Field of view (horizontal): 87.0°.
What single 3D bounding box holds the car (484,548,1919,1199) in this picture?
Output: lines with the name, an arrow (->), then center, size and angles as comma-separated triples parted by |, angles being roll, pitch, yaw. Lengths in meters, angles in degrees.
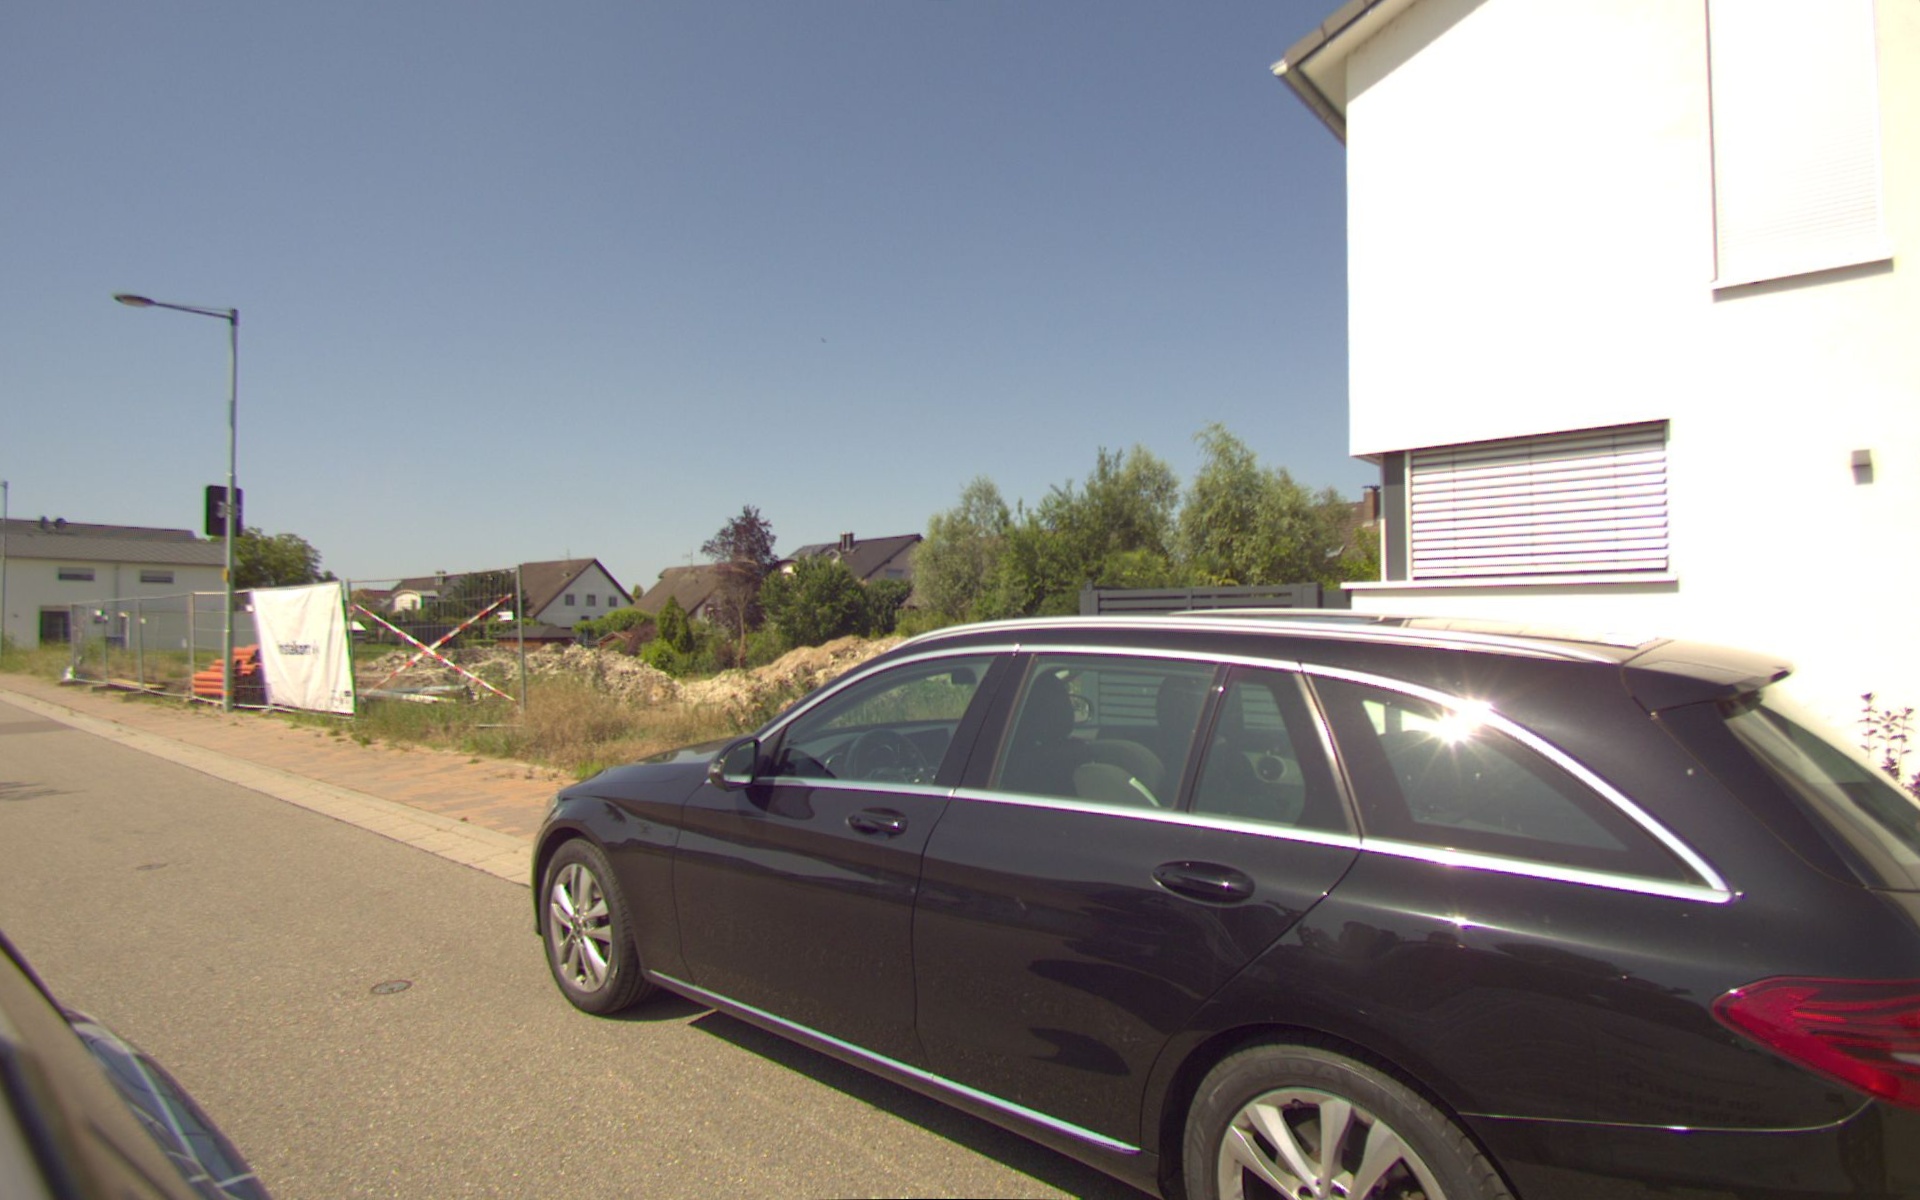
car -> 0.366, 0.703, 3.148 | 4.442, 1.484, 1.673 | -2, 0, 41
